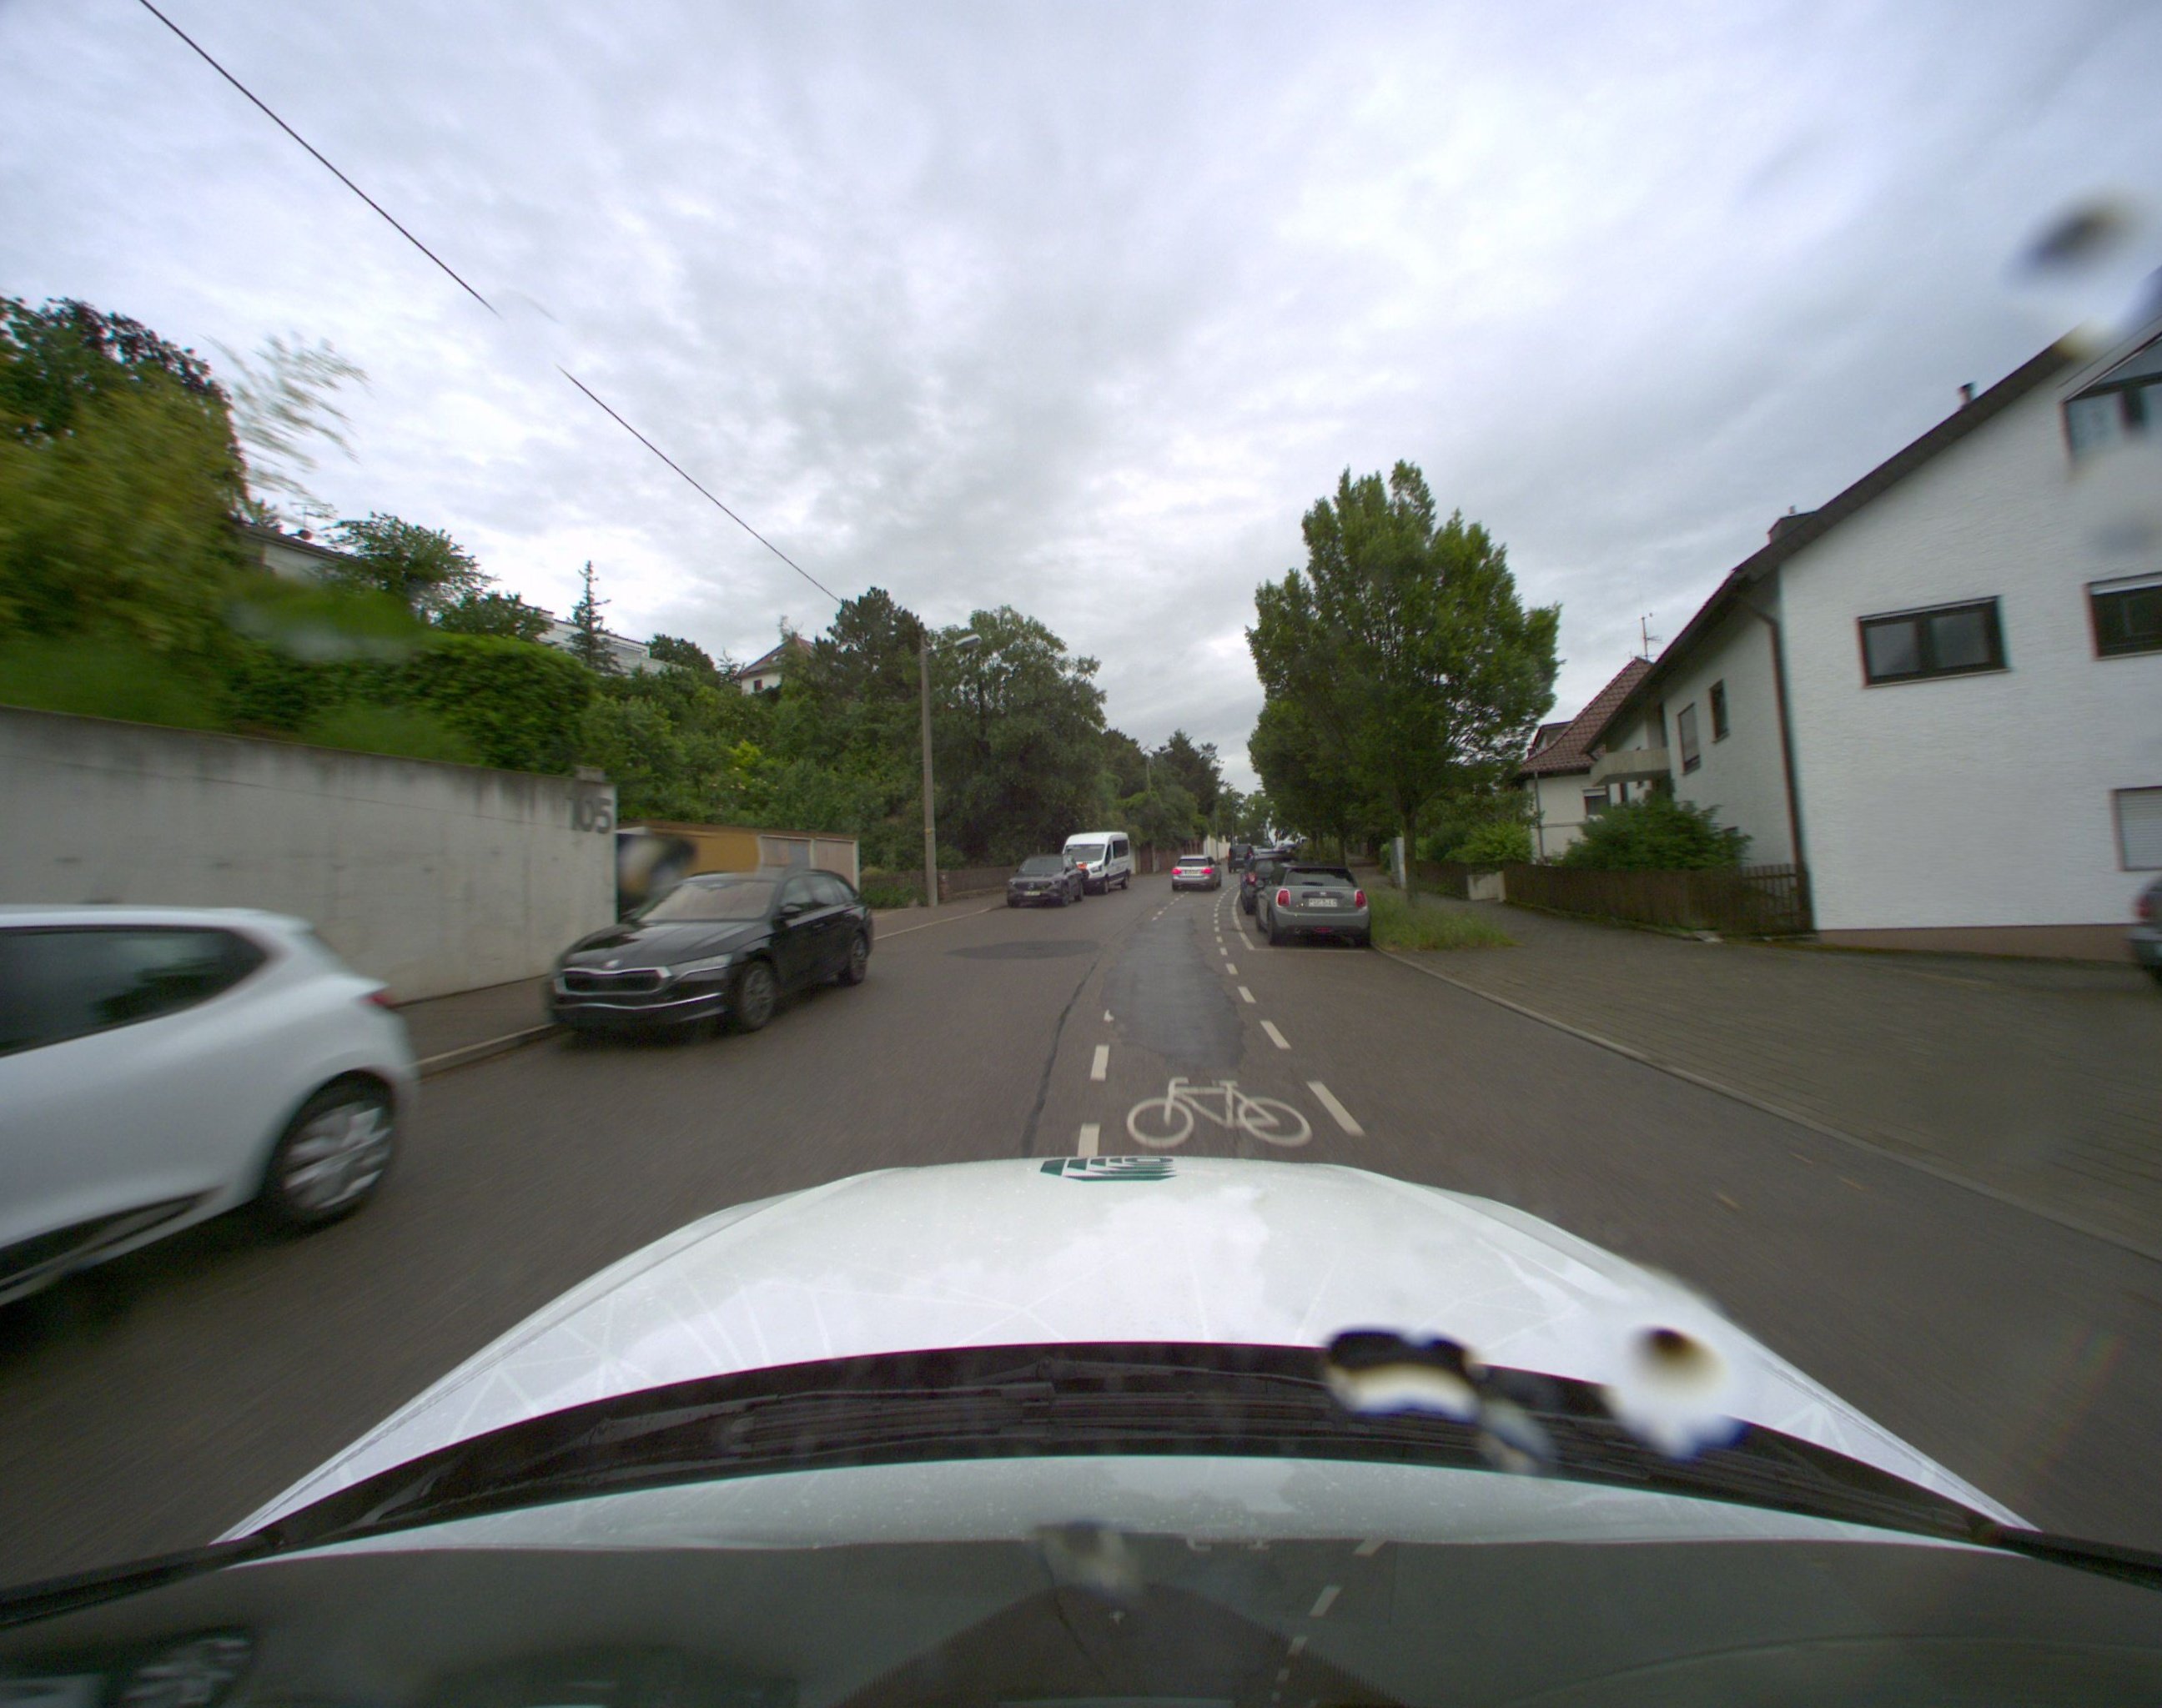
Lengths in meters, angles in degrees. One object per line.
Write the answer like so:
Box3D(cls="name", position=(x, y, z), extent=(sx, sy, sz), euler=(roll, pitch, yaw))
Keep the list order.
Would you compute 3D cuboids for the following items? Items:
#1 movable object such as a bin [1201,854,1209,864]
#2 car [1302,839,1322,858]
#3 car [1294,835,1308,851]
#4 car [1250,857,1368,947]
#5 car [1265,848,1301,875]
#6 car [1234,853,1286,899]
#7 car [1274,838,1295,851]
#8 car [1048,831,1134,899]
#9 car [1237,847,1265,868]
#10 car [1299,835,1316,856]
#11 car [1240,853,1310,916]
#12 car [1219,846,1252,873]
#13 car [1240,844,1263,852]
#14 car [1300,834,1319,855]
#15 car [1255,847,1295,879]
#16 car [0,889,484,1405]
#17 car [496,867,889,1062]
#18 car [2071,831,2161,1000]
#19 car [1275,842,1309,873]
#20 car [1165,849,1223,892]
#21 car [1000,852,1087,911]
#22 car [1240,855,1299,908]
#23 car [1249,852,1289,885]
Box3D(cls="movable object such as a bin", position=(12.488, 0.519, 82.205), extent=(0.653, 0.919, 0.680), euler=(-2, 0, 17))
Box3D(cls="car", position=(25.387, -0.595, 89.691), extent=(1.979, 2.052, 5.141), euler=(-1, 0, 14))
Box3D(cls="car", position=(35.362, -1.825, 131.126), extent=(2.049, 2.494, 4.778), euler=(0, 1, 15))
Box3D(cls="car", position=(4.156, 0.798, 15.334), extent=(1.659, 1.471, 3.718), euler=(0, 0, 8))
Box3D(cls="car", position=(11.723, 0.421, 47.139), extent=(1.635, 1.481, 4.040), euler=(-1, 0, 19))
Box3D(cls="car", position=(6.864, 0.763, 30.930), extent=(1.763, 1.553, 4.746), euler=(0, 0, 14))
Box3D(cls="car", position=(38.559, -1.806, 154.368), extent=(2.126, 2.526, 4.481), euler=(-1, 1, -10))
Box3D(cls="car", position=(0.562, 0.374, 34.359), extent=(2.078, 2.550, 6.122), euler=(-2, 0, 15))
Box3D(cls="car", position=(14.242, 0.294, 68.089), extent=(1.978, 1.708, 4.017), euler=(-1, -1, 16))
Box3D(cls="car", position=(32.188, -1.224, 115.746), extent=(2.109, 2.886, 5.791), euler=(0, 1, 13))
Box3D(cls="car", position=(5.180, 0.766, 22.022), extent=(1.617, 1.563, 3.030), euler=(-1, 0, 9))
Box3D(cls="car", position=(10.318, 0.367, 54.580), extent=(1.982, 1.708, 4.010), euler=(-1, -1, 9))
Box3D(cls="car", position=(34.723, -1.218, 165.865), extent=(1.979, 1.697, 4.448), euler=(-1, 1, -35))
Box3D(cls="car", position=(27.204, -1.152, 97.135), extent=(2.158, 2.492, 6.058), euler=(0, 1, 15))
Box3D(cls="car", position=(10.122, 0.423, 42.311), extent=(1.700, 1.556, 4.183), euler=(0, 1, 18))
Box3D(cls="car", position=(-4.100, 0.924, 2.242), extent=(1.826, 1.440, 4.041), euler=(-2, 0, 1))
Box3D(cls="car", position=(-3.664, 0.922, 8.836), extent=(1.705, 1.459, 4.687), euler=(-2, 0, 4))
Box3D(cls="car", position=(11.132, 0.571, 6.635), extent=(3.659, 1.465, 1.783), euler=(1, -1, 9))
Box3D(cls="car", position=(13.499, 0.187, 51.976), extent=(1.764, 1.852, 4.445), euler=(-1, 1, 18))
Box3D(cls="car", position=(4.877, 0.673, 34.664), extent=(2.011, 1.708, 4.230), euler=(-1, -1, 13))
Box3D(cls="car", position=(-1.123, 0.837, 26.846), extent=(1.884, 1.691, 4.558), euler=(-2, 0, 9))
Box3D(cls="car", position=(5.919, 0.816, 25.908), extent=(1.644, 1.519, 4.012), euler=(-1, 0, 10))
Box3D(cls="car", position=(8.696, 0.624, 37.519), extent=(1.630, 1.424, 4.305), euler=(0, 0, 15))
